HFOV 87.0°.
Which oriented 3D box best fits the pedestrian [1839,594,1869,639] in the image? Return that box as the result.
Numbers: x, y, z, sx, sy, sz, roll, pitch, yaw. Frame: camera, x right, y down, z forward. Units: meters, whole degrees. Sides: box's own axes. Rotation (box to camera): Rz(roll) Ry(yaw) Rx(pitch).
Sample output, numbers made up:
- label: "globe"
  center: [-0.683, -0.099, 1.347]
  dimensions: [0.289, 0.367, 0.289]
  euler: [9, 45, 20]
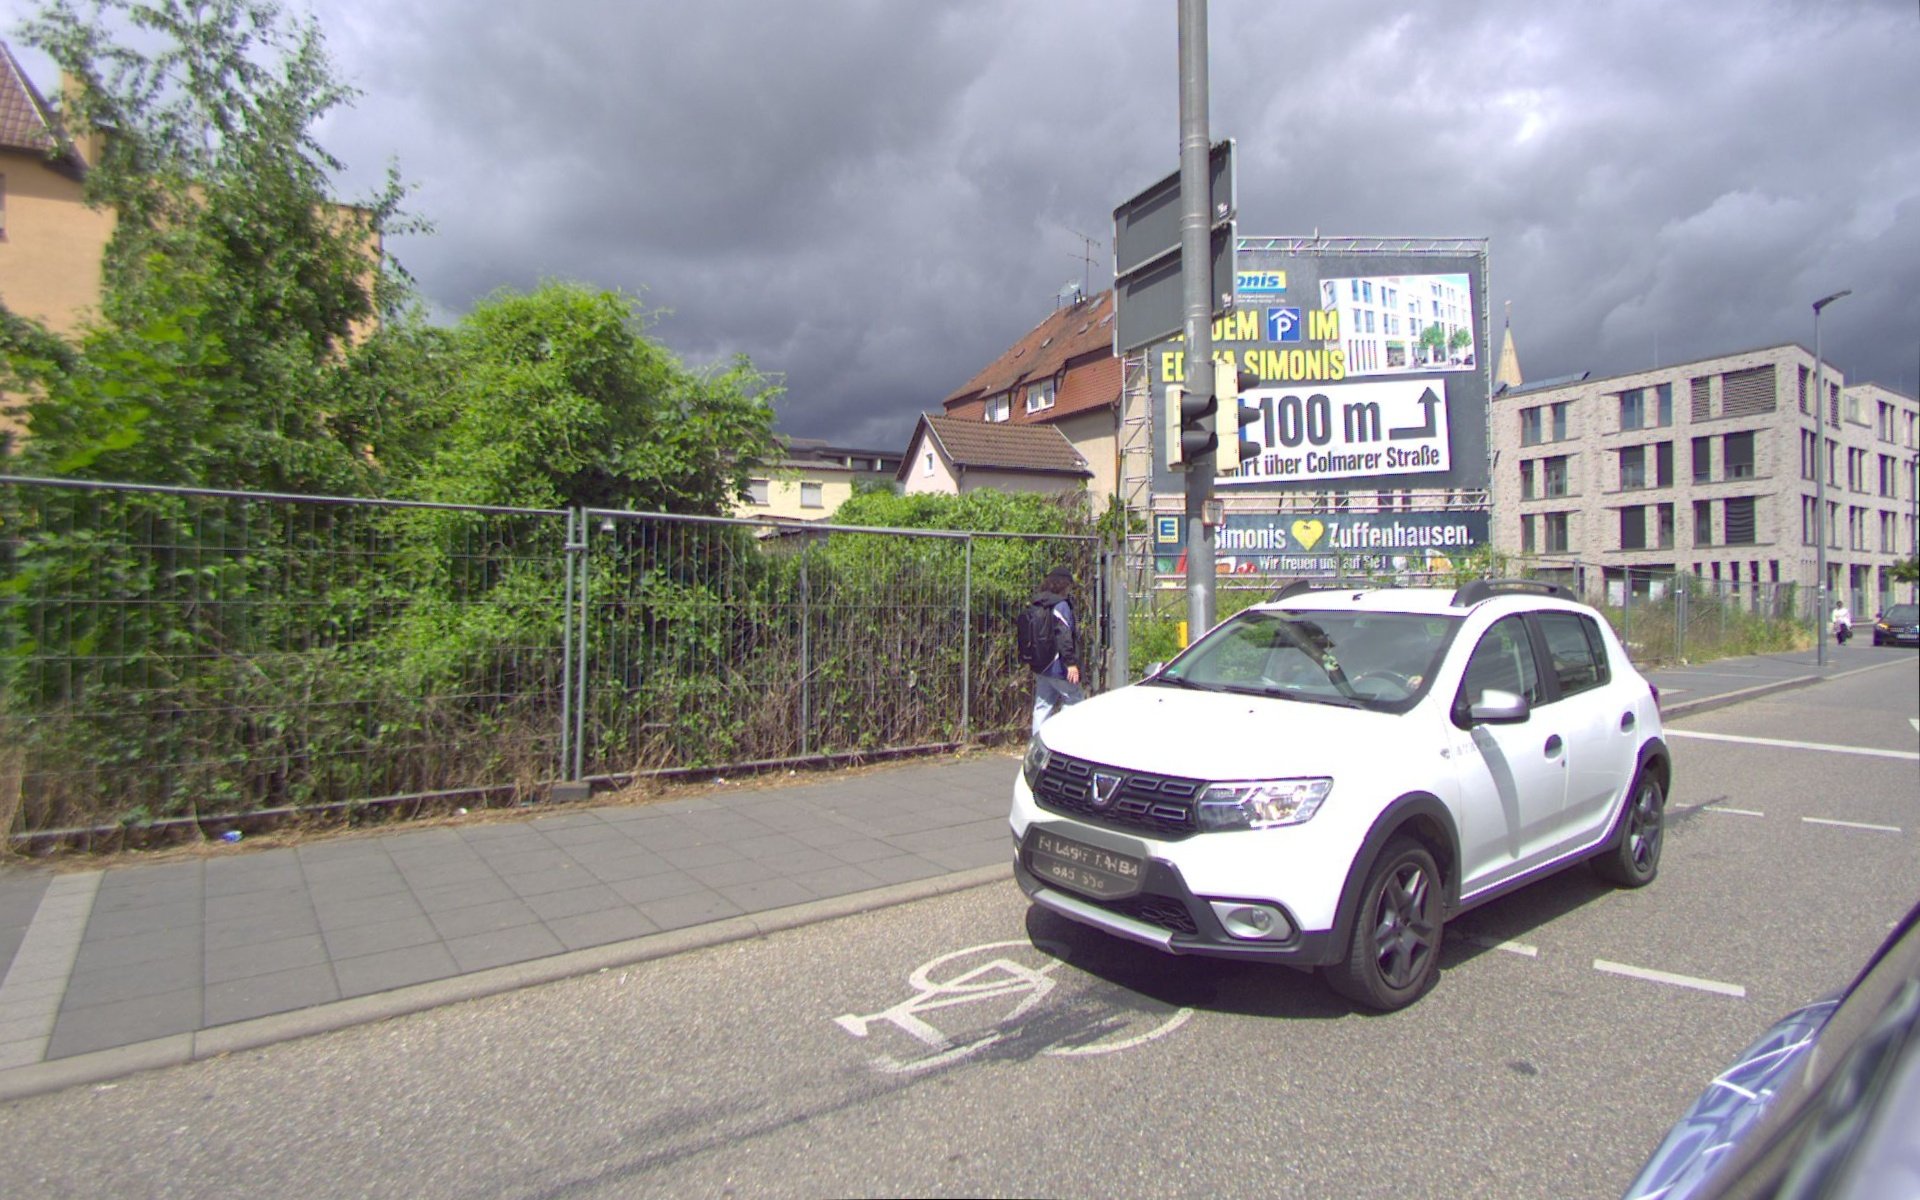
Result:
- label: "pedestrian"
  center: [30.449, 0.553, 34.459]
  dimensions: [0.769, 1.531, 0.673]
  euler: [1, 0, -41]

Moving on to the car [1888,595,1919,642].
- label: "car"
  center: [32.728, 0.608, 34.018]
  dimensions: [3.726, 1.441, 1.678]
  euler: [-1, 2, -39]

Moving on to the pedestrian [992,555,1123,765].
- label: "pedestrian"
  center: [0.814, 0.477, 8.541]
  dimensions: [0.762, 1.663, 0.768]
  euler: [2, 0, -29]

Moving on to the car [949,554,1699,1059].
- label: "car"
  center: [1.950, 0.614, 4.962]
  dimensions: [3.723, 1.569, 1.719]
  euler: [0, 1, -38]
